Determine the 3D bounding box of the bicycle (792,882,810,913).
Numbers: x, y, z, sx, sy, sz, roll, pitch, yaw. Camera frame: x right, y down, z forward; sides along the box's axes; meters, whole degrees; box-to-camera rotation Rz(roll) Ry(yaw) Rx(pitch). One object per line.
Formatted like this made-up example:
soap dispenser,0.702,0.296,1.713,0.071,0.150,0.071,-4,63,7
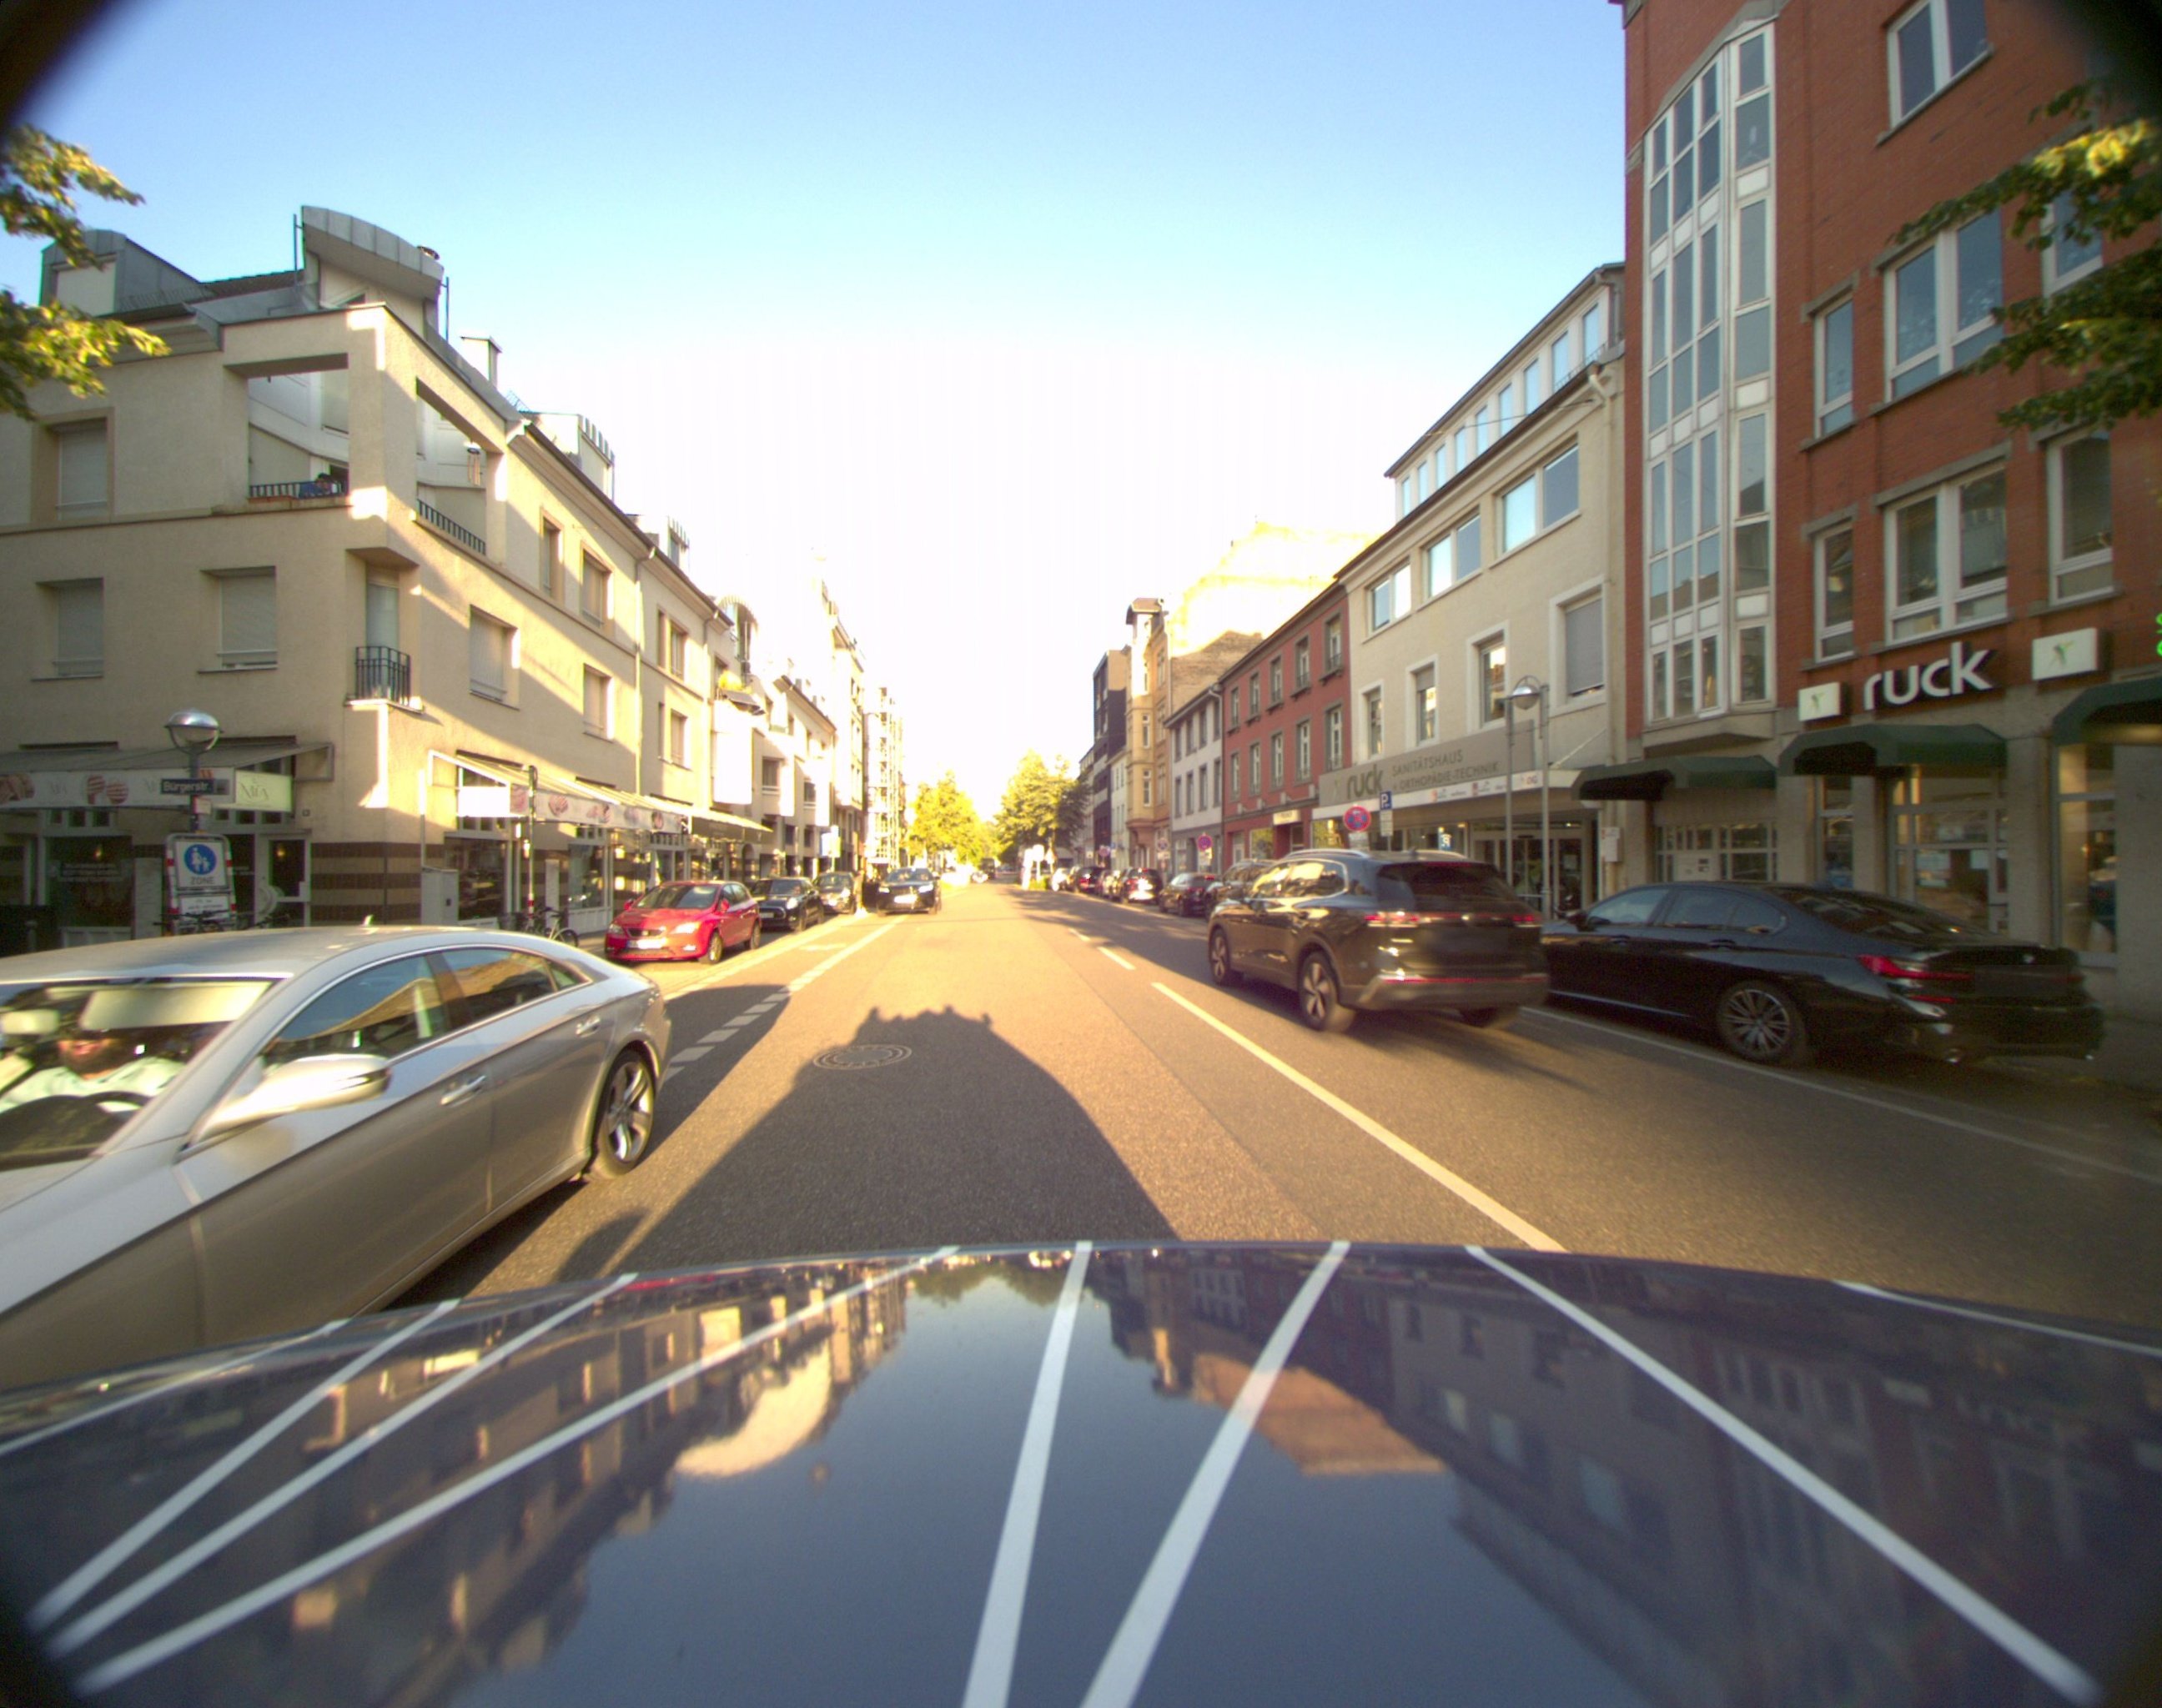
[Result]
bicycle,-10.596,1.626,28.802,0.296,1.079,1.462,-1,0,-7

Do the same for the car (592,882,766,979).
car,-7.176,1.285,14.015,1.594,1.425,3.923,1,-1,-8

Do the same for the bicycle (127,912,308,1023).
bicycle,-10.622,1.337,9.445,0.291,1.098,1.886,-1,0,-7

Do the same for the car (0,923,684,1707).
car,-3.047,1.109,2.332,1.748,1.392,4.637,-2,-1,-8

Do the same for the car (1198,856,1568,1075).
car,2.691,0.900,8.005,1.736,1.665,4.293,2,-1,-7

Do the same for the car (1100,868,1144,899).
car,2.061,1.491,39.342,1.690,1.461,3.689,2,-1,-6

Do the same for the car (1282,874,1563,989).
car,5.310,1.124,12.809,2.000,1.463,5.105,1,-1,-6

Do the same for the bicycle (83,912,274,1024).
bicycle,-11.048,1.343,9.402,0.322,1.098,1.878,-1,0,-7

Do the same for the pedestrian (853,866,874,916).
pedestrian,-7.720,1.306,27.006,0.631,1.739,0.669,0,0,-8

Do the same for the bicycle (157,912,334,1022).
bicycle,-10.314,1.341,9.482,0.322,1.098,1.878,-1,0,-7

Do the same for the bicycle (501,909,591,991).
bicycle,-8.079,1.418,11.549,0.315,1.040,1.664,0,0,-5

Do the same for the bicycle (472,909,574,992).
bicycle,-8.419,1.416,11.551,0.315,1.040,1.881,0,0,-5

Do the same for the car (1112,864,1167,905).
car,2.575,1.301,34.178,1.726,1.673,4.048,2,-1,-6

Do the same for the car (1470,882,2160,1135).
car,5.884,1.074,7.096,1.726,1.463,4.539,2,-1,-7

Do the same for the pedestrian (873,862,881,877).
pedestrian,-16.499,1.253,61.403,0.492,1.256,0.421,-2,0,-7

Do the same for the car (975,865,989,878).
car,-11.932,2.118,91.847,1.623,1.465,3.686,-2,0,-8

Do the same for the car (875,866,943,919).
car,-5.963,1.280,26.759,1.891,1.626,4.225,-2,0,-8

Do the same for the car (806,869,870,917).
car,-8.991,1.393,28.386,1.622,1.583,3.923,-1,-1,-8

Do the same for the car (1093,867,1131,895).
car,1.735,1.511,43.454,1.674,1.448,3.563,2,-1,-6

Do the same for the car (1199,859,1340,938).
car,4.641,1.046,19.592,1.726,1.768,4.935,1,-1,-9

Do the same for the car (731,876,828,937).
car,-8.178,1.364,20.935,1.622,1.425,3.923,0,-1,-8

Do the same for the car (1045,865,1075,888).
car,-1.527,1.585,54.068,1.674,1.512,3.563,1,-1,-8

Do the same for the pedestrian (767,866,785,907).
pedestrian,-13.369,1.414,33.345,0.576,1.789,0.450,-2,0,-7

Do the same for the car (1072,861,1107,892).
car,0.493,1.380,47.136,1.674,1.763,3.563,2,-1,-6

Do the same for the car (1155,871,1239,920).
car,3.818,1.345,25.736,1.707,1.429,4.012,2,-1,-8
